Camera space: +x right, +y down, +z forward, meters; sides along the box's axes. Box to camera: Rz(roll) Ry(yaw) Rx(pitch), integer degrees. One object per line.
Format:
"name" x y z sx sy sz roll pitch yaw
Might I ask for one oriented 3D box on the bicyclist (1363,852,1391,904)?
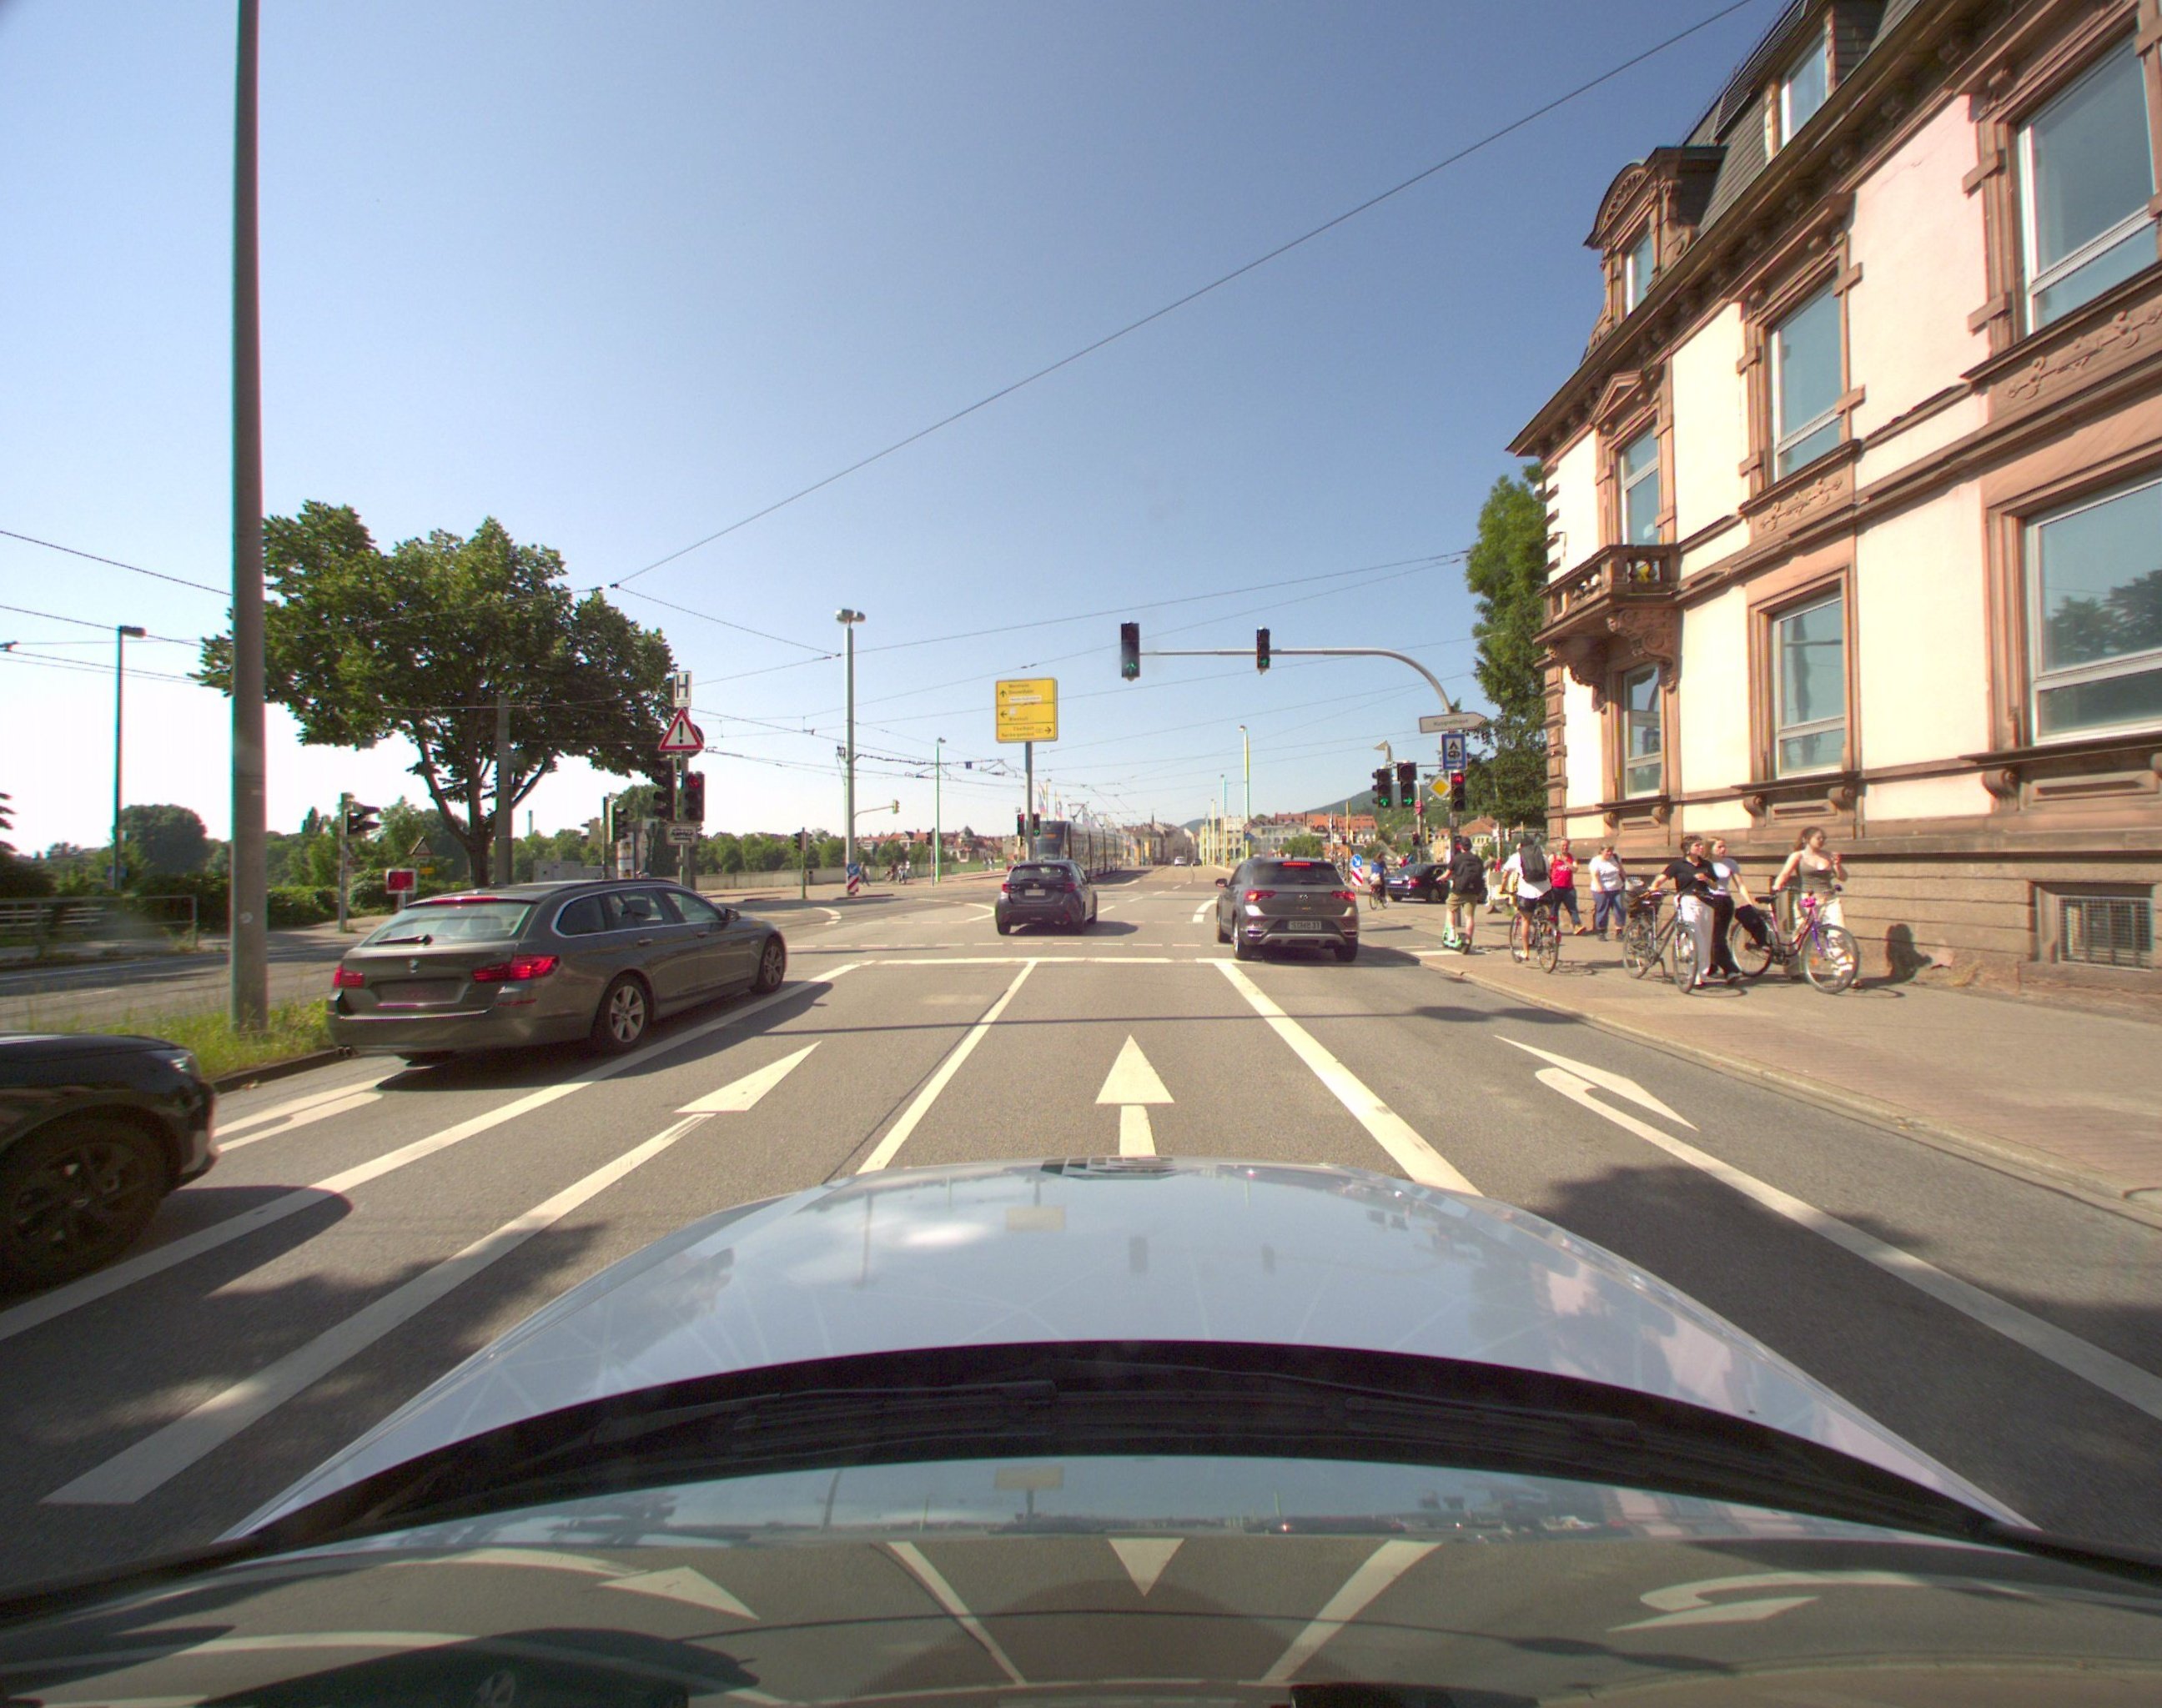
"bicyclist" 9.065 0.711 24.961 0.768 1.553 1.065 -1 0 18

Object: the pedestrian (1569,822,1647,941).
"pedestrian" 8.772 0.448 13.593 0.632 1.891 0.903 -3 0 0

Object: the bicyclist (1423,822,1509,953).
"bicyclist" 6.152 0.522 13.055 0.938 2.014 0.830 -1 -1 1

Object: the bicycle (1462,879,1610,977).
"bicycle" 5.951 0.921 10.824 0.776 1.102 2.139 -1 0 1

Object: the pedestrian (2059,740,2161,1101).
"pedestrian" 6.404 0.354 4.536 0.809 2.013 0.815 -3 -1 1

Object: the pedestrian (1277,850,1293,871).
"pedestrian" 17.204 0.525 68.727 0.981 1.769 1.254 -1 -1 1

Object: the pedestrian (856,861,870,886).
"pedestrian" -14.889 1.318 55.713 0.836 1.697 1.091 -1 -1 -18

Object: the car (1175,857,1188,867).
"car" 15.754 1.203 127.355 1.795 1.469 4.004 -2 -1 4

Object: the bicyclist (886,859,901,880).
"bicyclist" -13.183 1.111 57.205 1.005 1.449 0.812 -1 -1 -15

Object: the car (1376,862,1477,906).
"car" 12.909 1.049 30.310 4.022 1.436 1.976 -1 1 -43

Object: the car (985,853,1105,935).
"car" -0.641 0.779 17.638 1.900 1.540 4.008 -2 0 7

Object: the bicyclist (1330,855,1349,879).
"bicyclist" 16.123 0.786 50.812 1.073 1.474 0.803 1 0 11

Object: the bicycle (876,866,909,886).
"bicycle" -13.235 1.530 57.175 2.241 1.279 0.736 -1 -1 -15

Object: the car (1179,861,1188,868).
"car" 26.121 2.740 207.917 1.984 1.717 4.005 -1 -1 5

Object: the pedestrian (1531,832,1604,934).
"pedestrian" 8.748 0.524 14.680 0.703 1.753 0.903 -2 -2 0

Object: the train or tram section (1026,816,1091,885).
"train or tram section" -1.184 -0.187 49.915 2.523 3.777 9.188 -1 0 7

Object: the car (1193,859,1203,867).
"car" 22.856 1.696 159.042 1.795 1.469 4.006 -2 -1 6

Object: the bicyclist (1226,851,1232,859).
"bicyclist" 21.120 0.170 116.082 0.664 1.045 0.980 -5 -1 1

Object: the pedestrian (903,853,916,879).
"pedestrian" -13.327 0.908 63.309 0.900 2.014 0.830 -1 -1 -15

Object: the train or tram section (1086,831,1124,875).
"train or tram section" 2.387 -0.101 75.765 2.457 3.777 11.872 -1 0 7

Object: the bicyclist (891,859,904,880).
"bicyclist" -13.091 1.101 58.082 0.825 1.493 0.872 -1 -1 -15

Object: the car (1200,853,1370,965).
"car" 3.133 0.779 13.355 1.922 1.516 3.995 -1 0 3

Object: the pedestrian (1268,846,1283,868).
"pedestrian" 15.952 0.242 66.734 0.981 1.750 0.930 0 -1 1

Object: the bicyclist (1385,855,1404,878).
"bicyclist" 20.302 0.781 52.769 1.072 1.474 0.931 1 0 13

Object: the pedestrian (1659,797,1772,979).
"pedestrian" 7.397 0.386 9.531 0.658 2.013 0.700 -3 -1 1

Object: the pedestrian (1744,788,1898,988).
"pedestrian" 7.959 0.353 8.801 0.809 2.013 0.815 -3 -1 1

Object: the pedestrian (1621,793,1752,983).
"pedestrian" 6.782 0.369 9.165 0.809 2.014 0.815 -2 -1 1

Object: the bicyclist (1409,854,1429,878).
"bicyclist" 21.517 0.770 51.892 1.072 1.474 0.932 1 0 15

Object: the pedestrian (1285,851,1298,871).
"pedestrian" 17.223 0.572 66.647 0.796 1.635 0.950 -1 -1 1

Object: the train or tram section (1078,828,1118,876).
"train or tram section" 1.533 -0.174 67.888 2.391 3.681 9.637 -1 0 7

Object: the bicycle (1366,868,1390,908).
"bicycle" 9.106 1.019 25.031 0.610 1.164 2.260 -1 0 18

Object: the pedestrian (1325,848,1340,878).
"pedestrian" 15.953 0.583 51.680 0.769 1.855 0.646 -1 -1 10

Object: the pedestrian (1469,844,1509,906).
"pedestrian" 13.741 0.690 27.451 0.772 2.014 1.060 -1 -1 2

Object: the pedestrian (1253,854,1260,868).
"pedestrian" 19.806 0.830 92.011 0.646 1.562 0.693 -2 0 5

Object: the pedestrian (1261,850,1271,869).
"pedestrian" 16.983 0.546 74.789 0.693 1.716 0.732 0 -1 1

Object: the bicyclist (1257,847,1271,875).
"bicyclist" 11.791 0.440 52.430 0.670 1.744 1.151 -1 -1 3

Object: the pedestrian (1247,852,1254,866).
"pedestrian" 21.696 0.611 104.129 0.652 1.743 0.979 0 0 2

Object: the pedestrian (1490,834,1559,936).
"pedestrian" 7.959 0.547 14.652 0.703 1.769 0.903 -1 -1 0

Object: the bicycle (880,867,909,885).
"bicycle" -13.300 1.590 58.025 1.972 1.209 0.636 -1 -1 -15

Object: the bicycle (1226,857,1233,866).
"bicycle" 21.190 1.043 116.212 0.692 1.194 2.080 -1 -2 2

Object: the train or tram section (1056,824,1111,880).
"train or tram section" 0.326 -0.149 59.761 2.522 3.777 9.193 -1 0 9

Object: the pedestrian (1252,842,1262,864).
"pedestrian" 16.542 -0.105 76.554 0.800 2.014 0.954 0 -1 1

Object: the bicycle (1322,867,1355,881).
"bicycle" 16.029 1.256 50.781 1.926 0.827 0.567 1 0 11

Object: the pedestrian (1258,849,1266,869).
"pedestrian" 16.492 0.488 74.300 0.547 1.799 0.646 0 -1 1

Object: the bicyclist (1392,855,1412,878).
"bicyclist" 20.394 0.790 51.781 1.069 1.474 0.767 1 0 30

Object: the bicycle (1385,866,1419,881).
"bicycle" 20.410 1.238 51.755 1.920 0.853 0.569 1 0 30

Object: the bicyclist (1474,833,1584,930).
"bicyclist" 5.948 0.352 10.881 0.917 1.219 0.972 -1 -1 1

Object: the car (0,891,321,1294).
"car" -4.848 0.901 2.165 1.786 1.411 4.002 -1 -1 2

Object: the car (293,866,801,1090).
"car" -4.608 0.912 8.144 1.741 1.486 4.750 -2 0 3

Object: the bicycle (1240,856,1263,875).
"bicycle" 10.645 0.718 50.922 0.789 1.096 3.747 -1 -1 3
